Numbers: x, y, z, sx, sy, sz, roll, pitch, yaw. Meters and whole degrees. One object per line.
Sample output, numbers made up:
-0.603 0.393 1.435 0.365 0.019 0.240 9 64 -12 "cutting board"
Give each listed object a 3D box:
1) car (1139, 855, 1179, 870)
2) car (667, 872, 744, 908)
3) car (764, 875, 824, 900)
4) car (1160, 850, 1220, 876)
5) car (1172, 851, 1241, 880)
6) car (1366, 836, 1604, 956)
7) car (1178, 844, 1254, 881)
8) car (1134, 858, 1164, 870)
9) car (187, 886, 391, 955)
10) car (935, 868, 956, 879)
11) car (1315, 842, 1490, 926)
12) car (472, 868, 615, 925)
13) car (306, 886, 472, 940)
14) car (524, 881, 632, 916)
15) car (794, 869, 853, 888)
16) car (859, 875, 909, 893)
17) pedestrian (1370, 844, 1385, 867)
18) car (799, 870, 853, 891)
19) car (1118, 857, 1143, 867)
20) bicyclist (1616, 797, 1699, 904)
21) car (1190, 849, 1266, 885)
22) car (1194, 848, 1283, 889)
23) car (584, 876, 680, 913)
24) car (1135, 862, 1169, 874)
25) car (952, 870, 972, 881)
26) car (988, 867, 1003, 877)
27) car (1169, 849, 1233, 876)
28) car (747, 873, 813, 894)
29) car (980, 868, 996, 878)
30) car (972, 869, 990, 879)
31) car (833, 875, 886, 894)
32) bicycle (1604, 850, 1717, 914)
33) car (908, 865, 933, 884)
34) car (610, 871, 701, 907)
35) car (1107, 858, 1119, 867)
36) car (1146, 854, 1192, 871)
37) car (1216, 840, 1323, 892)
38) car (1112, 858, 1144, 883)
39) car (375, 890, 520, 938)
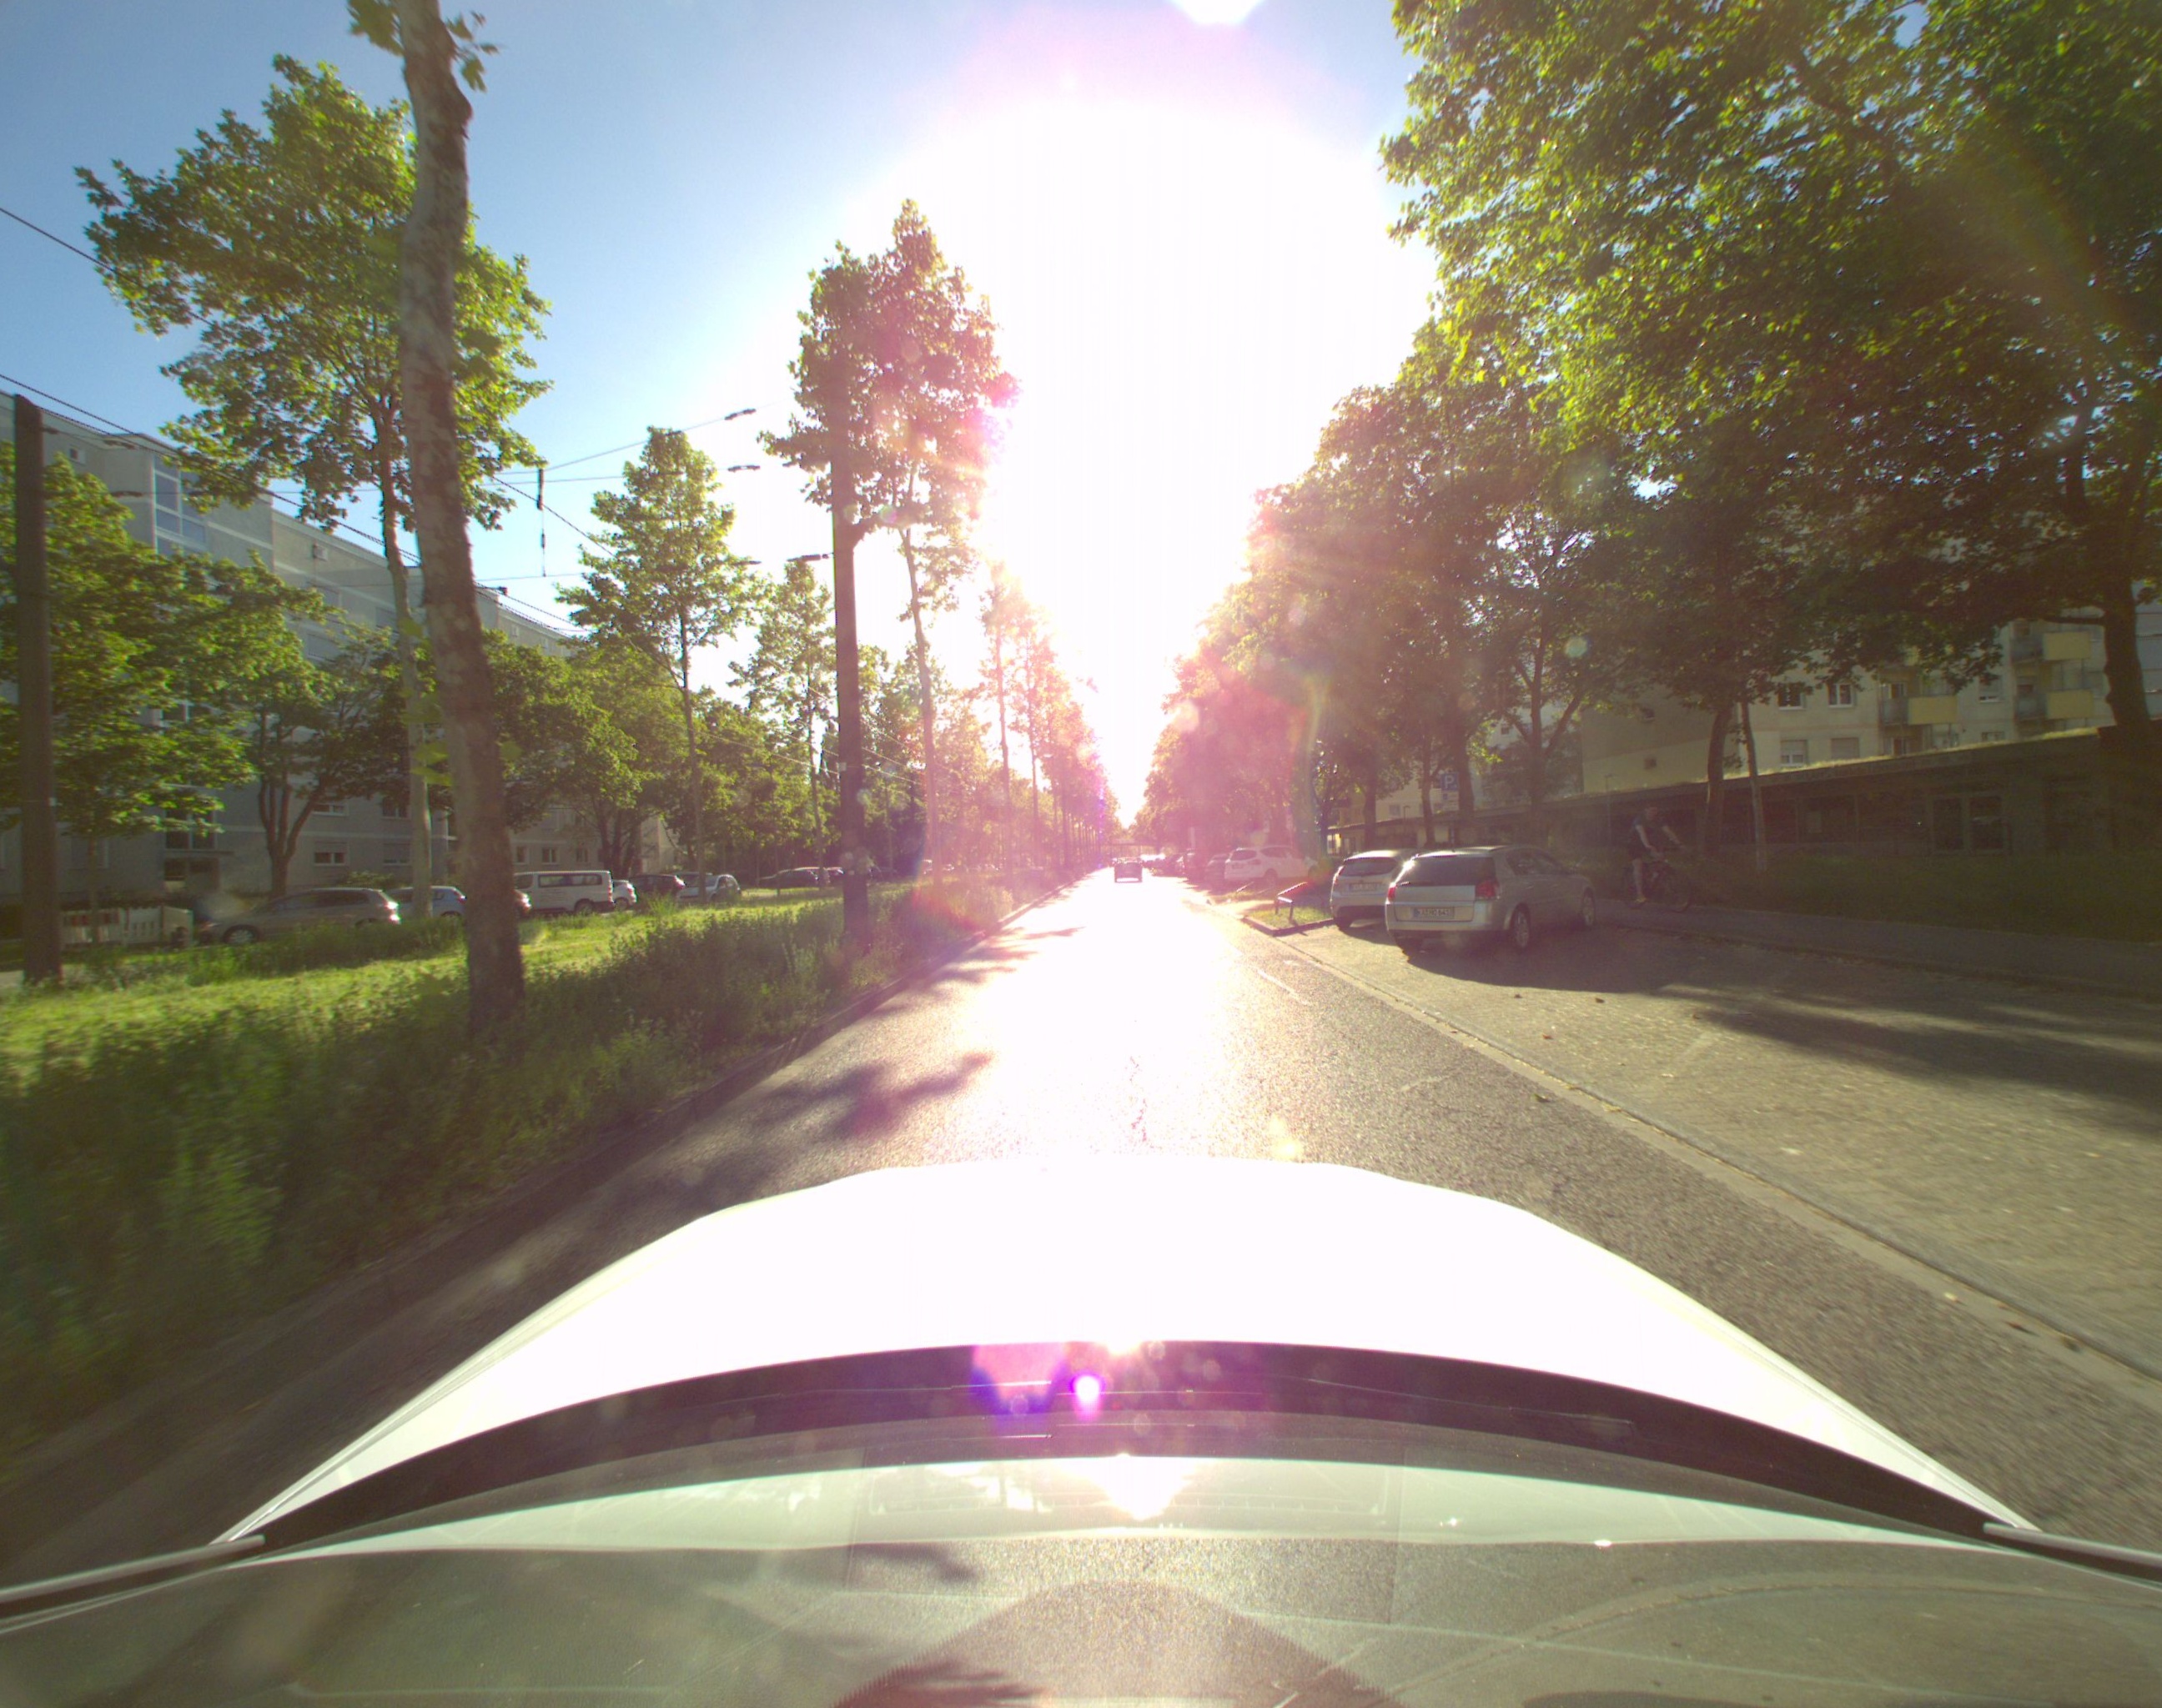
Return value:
8.575 0.938 89.314 4.353 1.424 1.834 -3 -1 -42 "car"
-17.520 1.658 38.187 1.640 1.485 3.851 -3 -1 2 "car"
-22.363 2.589 63.524 4.000 1.675 1.766 -2 -1 -41 "car"
7.905 0.656 58.856 4.340 1.717 1.617 -2 0 -37 "car"
7.744 0.704 49.948 4.102 1.481 1.634 -3 -1 -34 "car"
6.242 0.542 12.366 4.208 1.412 1.700 -3 -1 -41 "car"
7.439 0.453 44.682 4.105 1.811 1.632 -3 -1 -38 "car"
10.339 1.465 123.858 4.648 1.680 1.835 -1 -1 -40 "car"
-22.822 1.863 23.714 4.106 1.646 1.632 -2 -1 -40 "car"
-17.697 2.549 106.552 1.864 1.453 3.578 1 0 4 "car"
6.493 0.546 16.255 3.960 1.373 1.568 -3 -1 -41 "car"
-22.394 1.709 34.034 4.820 2.006 1.871 -2 1 -36 "car"
-23.004 1.912 27.242 4.106 1.483 1.632 -2 -1 -40 "car"
-22.749 1.993 36.966 4.099 1.432 1.563 0 0 -32 "car"
-22.134 2.099 70.064 4.505 1.481 1.600 -2 -1 -34 "car"
-19.757 3.047 81.900 4.510 1.568 1.774 -2 -1 -41 "car"
25.334 0.147 69.585 0.871 1.914 0.869 -2 -1 -6 "pedestrian"
-21.194 2.210 67.758 3.942 1.487 1.774 -2 -1 -41 "car"
8.976 1.398 147.753 4.648 1.769 1.835 -1 -1 -40 "car"
9.800 -0.040 13.886 0.620 1.741 1.024 -2 -2 2 "bicyclist"
7.019 0.595 38.696 3.648 1.448 1.631 -3 -1 -44 "car"
6.627 0.580 34.104 3.808 1.470 1.631 -3 -1 -41 "car"
-22.434 2.003 40.752 4.100 1.530 1.800 -2 1 -32 "car"
9.424 1.857 108.144 4.651 1.459 1.955 -2 -1 -44 "car"
-17.063 3.078 117.146 1.984 1.453 4.004 1 0 4 "car"
-14.951 3.157 142.446 1.779 1.590 4.172 1 0 4 "car"
8.186 0.577 55.450 4.100 1.582 1.763 -3 -1 -33 "car"
-22.141 2.139 59.932 4.154 1.337 1.774 -2 0 -41 "car"
-15.529 3.146 136.380 1.984 1.590 4.172 1 0 4 "car"
-15.772 3.109 128.380 1.984 1.453 4.004 1 0 4 "car"
-20.920 2.880 77.062 4.510 1.568 1.774 -2 -1 -41 "car"
9.816 0.449 13.890 0.620 0.967 1.841 -4 0 2 "bicycle"
-18.692 2.403 95.033 1.638 2.093 4.920 1 0 4 "car"
-22.846 1.828 43.779 4.101 1.607 1.974 -2 1 -34 "car"
5.387 1.448 137.627 1.842 1.535 3.869 -2 0 3 "car"
8.614 0.815 79.266 4.518 1.443 1.834 -3 -1 -42 "car"
7.200 0.423 30.941 4.048 1.705 1.740 -3 -1 -39 "car"
2.902 1.005 50.733 1.914 1.411 4.002 -1 0 2 "car"
-23.220 2.171 30.012 4.105 1.432 1.561 -2 -2 -38 "car"
